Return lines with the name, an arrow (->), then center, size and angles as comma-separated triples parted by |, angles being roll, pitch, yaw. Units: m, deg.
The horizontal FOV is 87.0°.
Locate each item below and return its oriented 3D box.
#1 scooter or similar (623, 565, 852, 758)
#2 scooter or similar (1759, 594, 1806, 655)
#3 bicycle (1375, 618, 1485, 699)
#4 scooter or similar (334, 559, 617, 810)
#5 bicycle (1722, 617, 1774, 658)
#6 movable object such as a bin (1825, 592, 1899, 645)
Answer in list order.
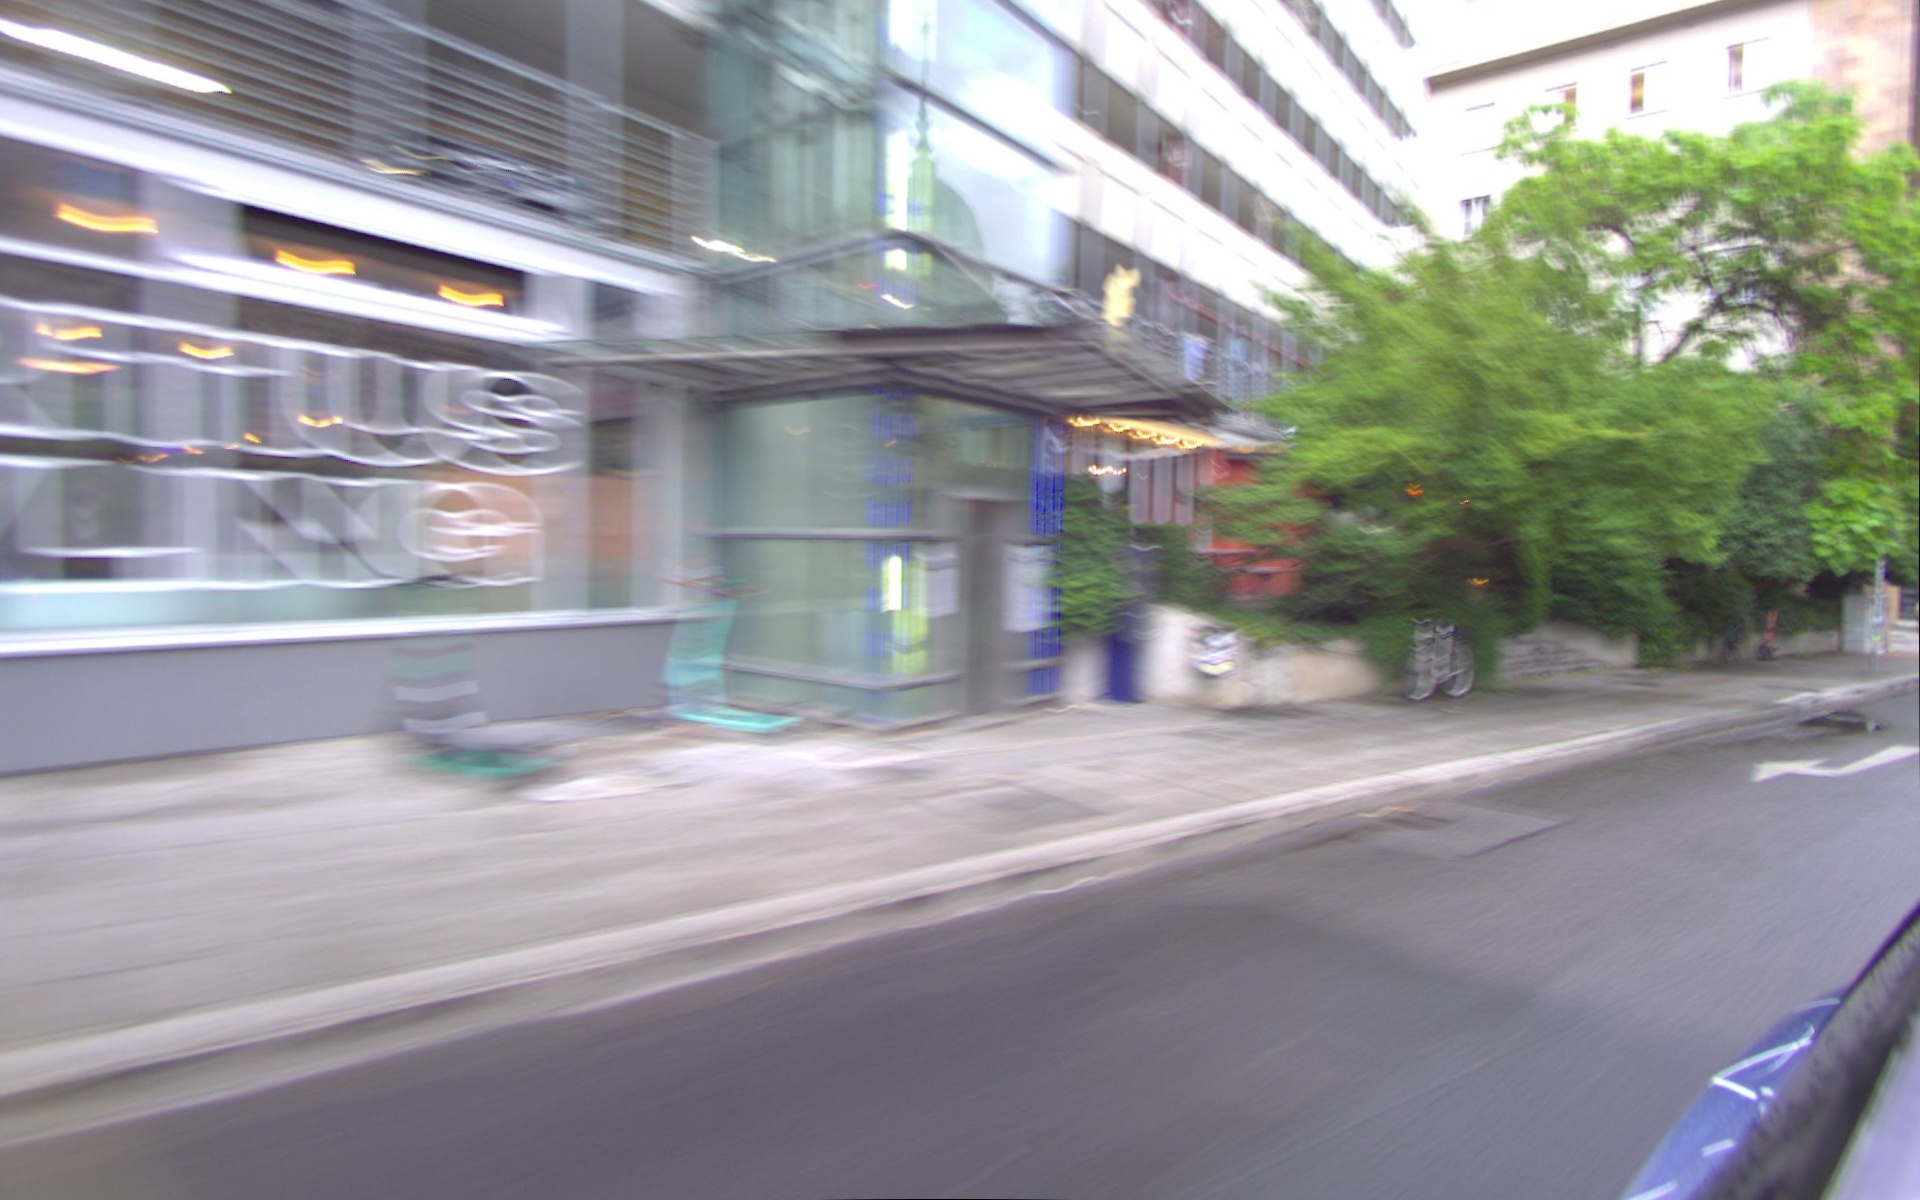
scooter or similar -> -1.738, 0.416, 7.857 | 1.626, 1.283, 0.735 | 4, 2, 29
scooter or similar -> 17.915, 0.518, 22.047 | 1.188, 1.274, 0.448 | 0, 3, -37
bicycle -> 5.807, 0.694, 12.476 | 1.658, 0.896, 0.471 | 0, 2, -36
scooter or similar -> -2.972, 0.436, 6.181 | 1.626, 1.283, 0.735 | 4, 2, 29
bicycle -> 16.260, 0.760, 20.867 | 1.189, 0.763, 0.502 | 0, 4, -37
movable object such as a bin -> 25.051, 0.494, 28.115 | 1.210, 1.326, 1.244 | 0, 4, -36
